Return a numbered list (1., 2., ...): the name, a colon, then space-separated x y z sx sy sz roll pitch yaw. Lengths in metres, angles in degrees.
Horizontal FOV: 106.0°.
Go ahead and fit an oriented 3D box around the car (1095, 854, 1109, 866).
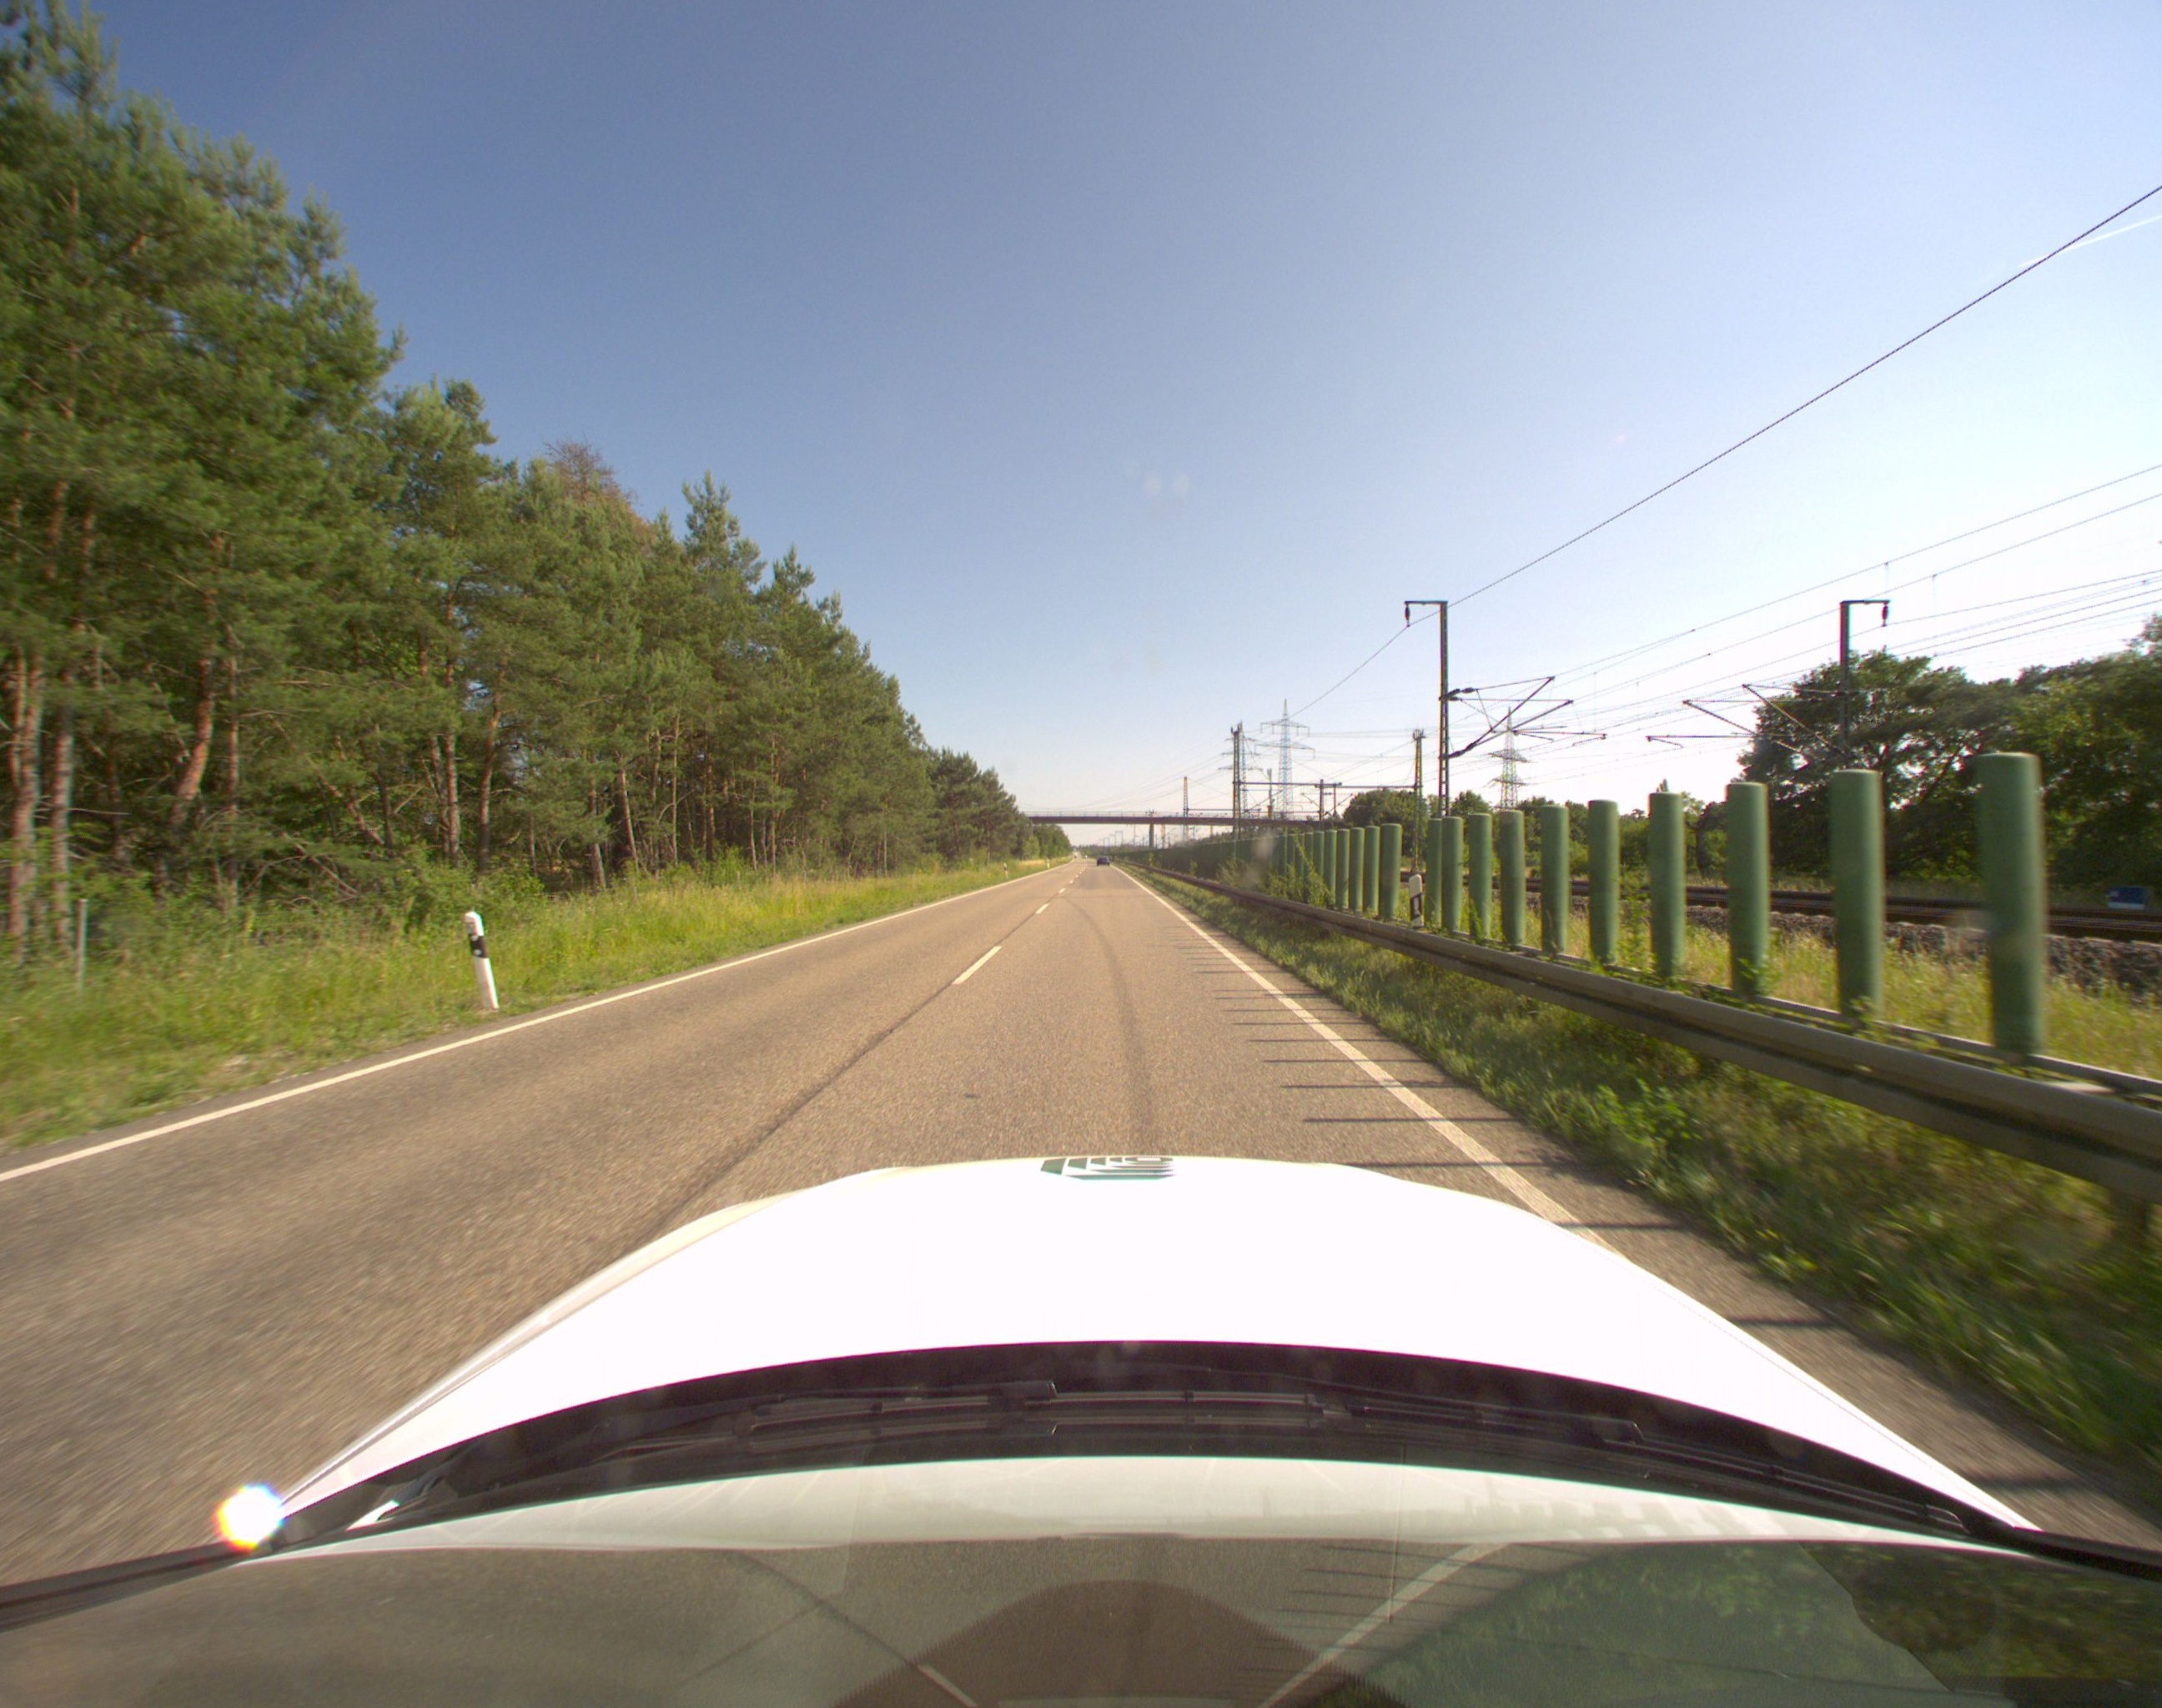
1. car: 3.024 0.863 117.487 1.853 1.642 3.999 -2 0 0
